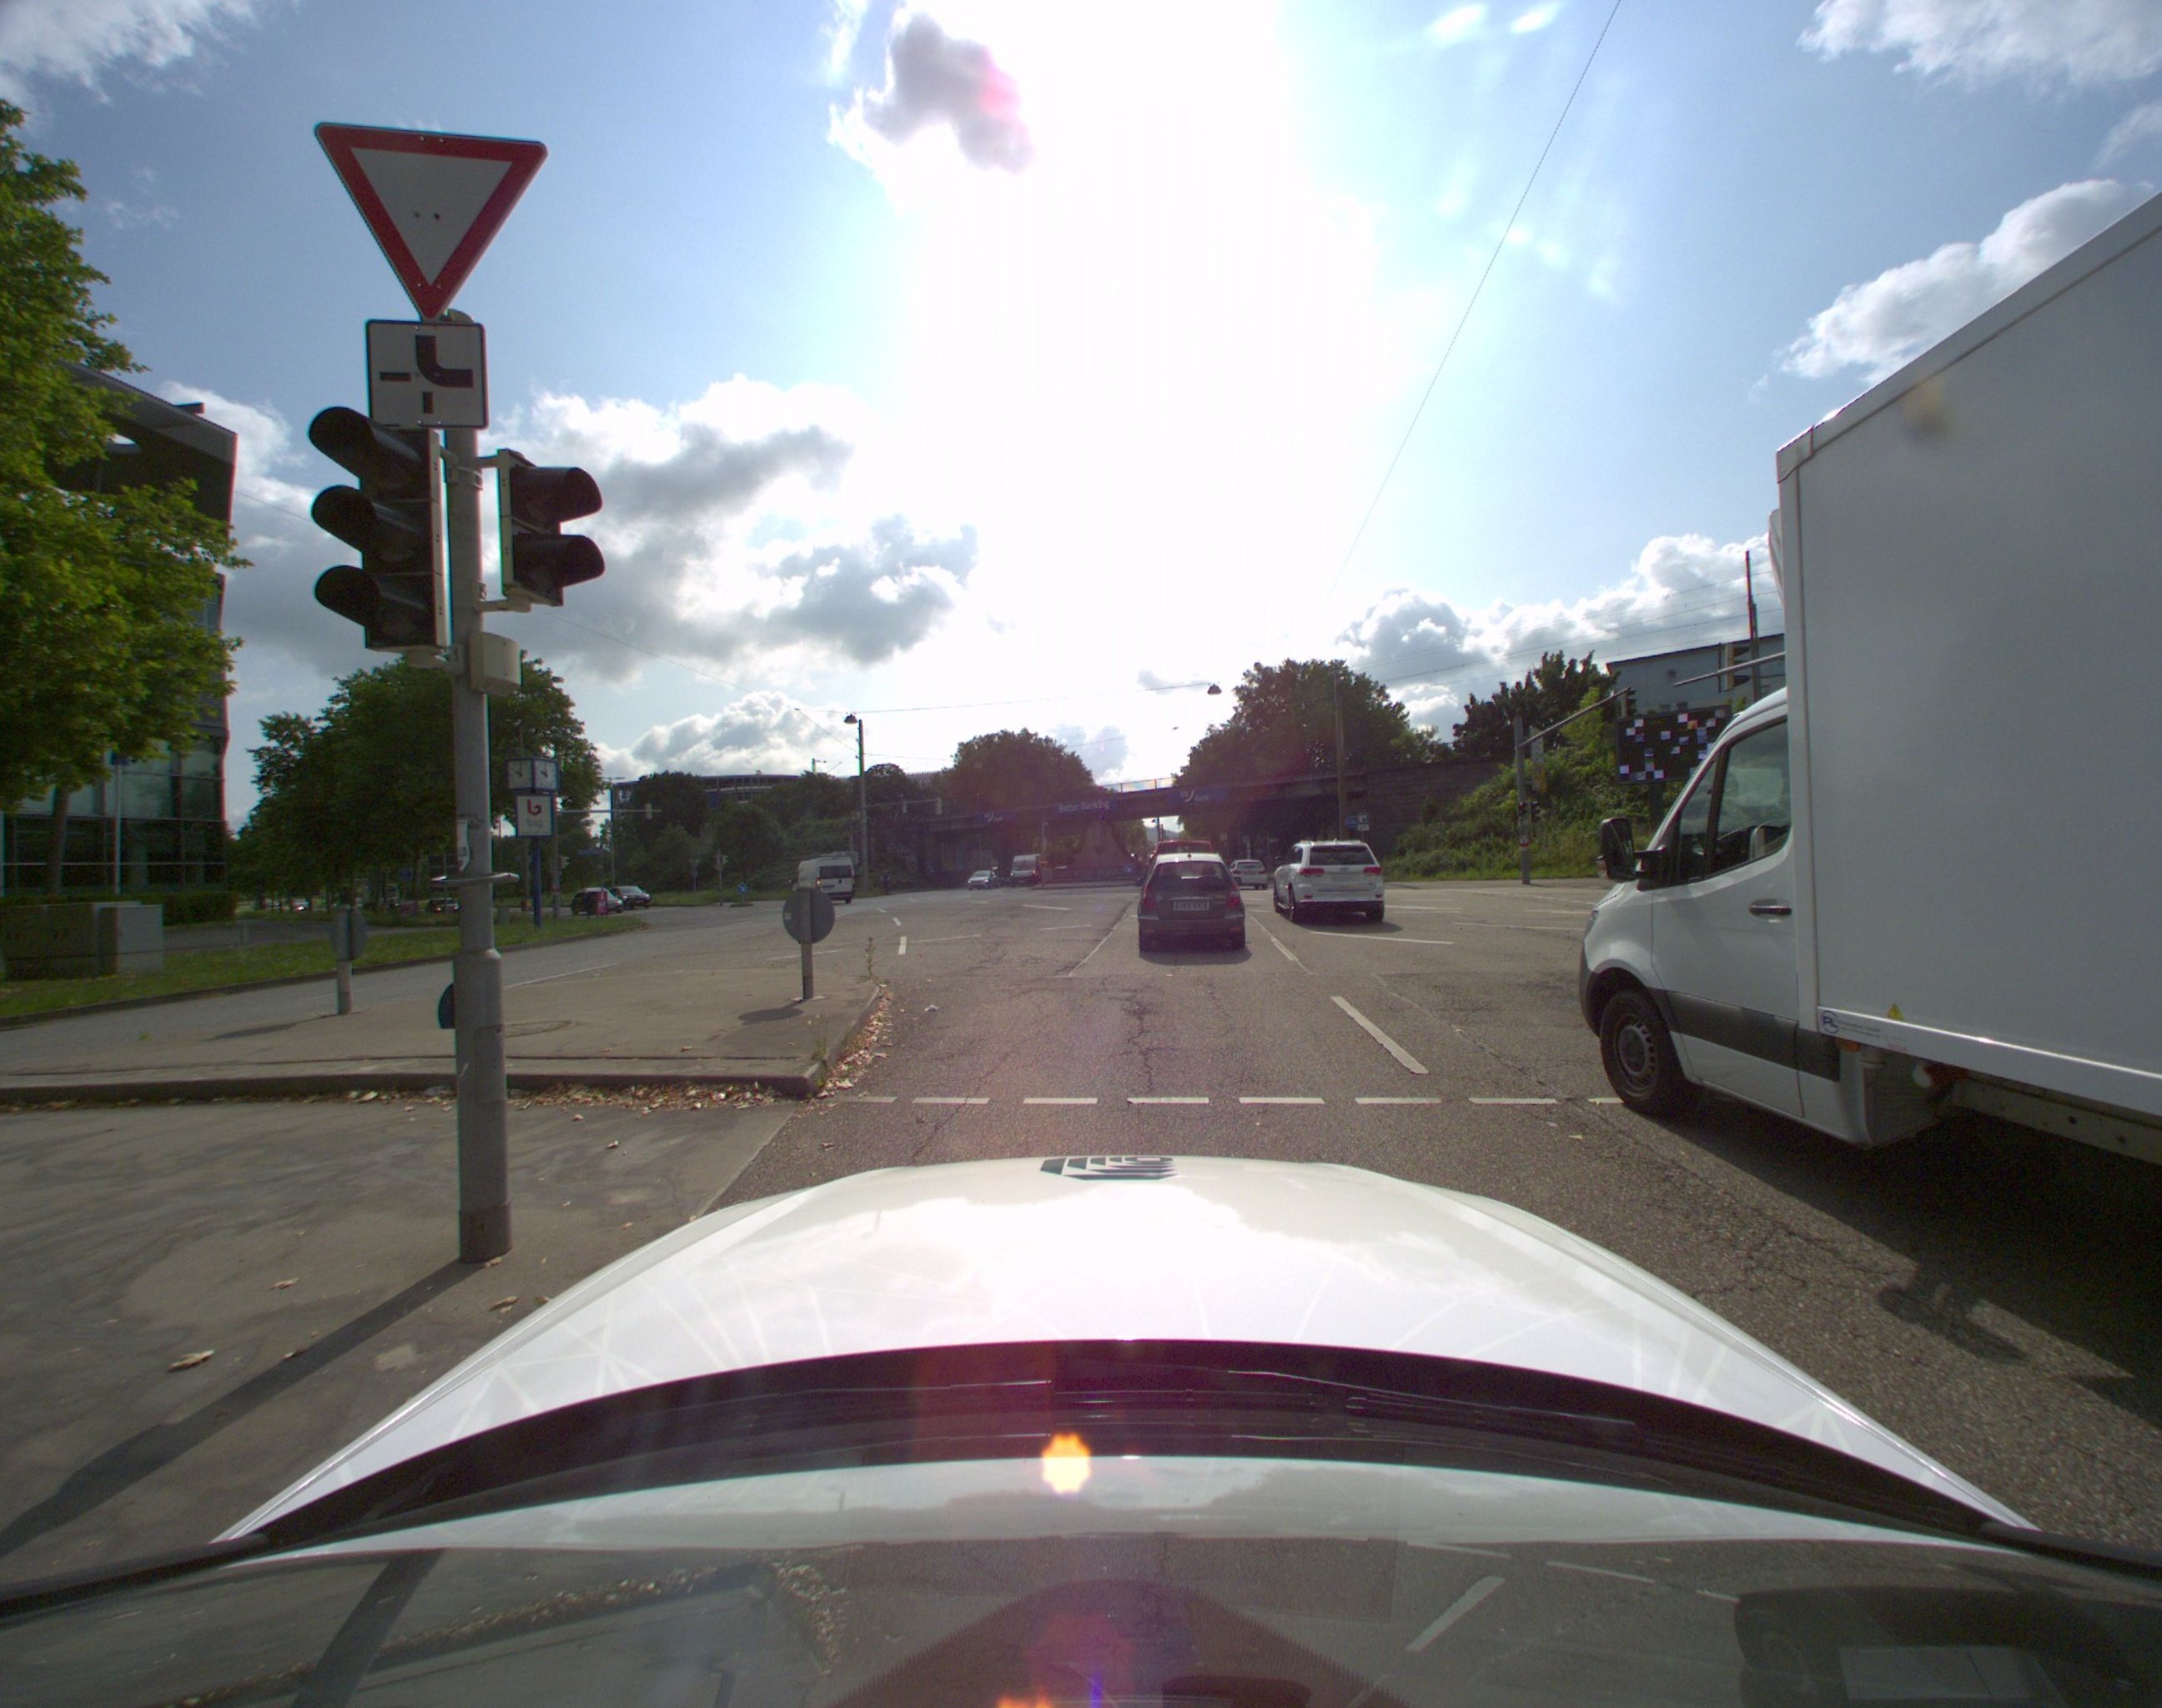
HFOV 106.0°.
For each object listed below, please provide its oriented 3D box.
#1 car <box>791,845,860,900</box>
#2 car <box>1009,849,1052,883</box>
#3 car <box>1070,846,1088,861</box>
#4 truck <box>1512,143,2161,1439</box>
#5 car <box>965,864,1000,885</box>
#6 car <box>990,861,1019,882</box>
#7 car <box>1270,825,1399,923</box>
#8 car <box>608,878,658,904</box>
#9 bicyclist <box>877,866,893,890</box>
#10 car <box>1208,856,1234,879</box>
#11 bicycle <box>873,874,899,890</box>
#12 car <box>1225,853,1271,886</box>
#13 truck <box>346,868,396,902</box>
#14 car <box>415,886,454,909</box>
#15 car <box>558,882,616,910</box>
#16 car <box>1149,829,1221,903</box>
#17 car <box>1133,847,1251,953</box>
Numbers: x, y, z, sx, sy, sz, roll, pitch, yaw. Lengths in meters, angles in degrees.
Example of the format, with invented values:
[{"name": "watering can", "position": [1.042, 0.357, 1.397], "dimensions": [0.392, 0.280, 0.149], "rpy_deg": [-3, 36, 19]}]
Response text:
[{"name": "car", "position": [-13.885, 1.022, 44.047], "dimensions": [2.213, 2.726, 4.878], "rpy_deg": [-2, -1, -34]}, {"name": "car", "position": [-3.971, 0.942, 64.900], "dimensions": [2.245, 2.526, 5.639], "rpy_deg": [-3, -1, 8]}, {"name": "car", "position": [-0.350, -0.140, 151.333], "dimensions": [2.232, 2.578, 5.639], "rpy_deg": [-3, -1, 8]}, {"name": "truck", "position": [3.862, -0.153, 2.319], "dimensions": [2.435, 3.121, 6.036], "rpy_deg": [-2, -1, 5]}, {"name": "car", "position": [-7.562, 1.559, 62.978], "dimensions": [1.694, 1.476, 4.006], "rpy_deg": [-5, -1, 6]}, {"name": "car", "position": [-6.881, 1.554, 73.482], "dimensions": [1.758, 1.583, 4.666], "rpy_deg": [-7, -1, 2]}, {"name": "car", "position": [5.619, 0.376, 18.634], "dimensions": [1.984, 1.901, 4.518], "rpy_deg": [-2, 1, 7]}, {"name": "car", "position": [-30.354, 2.449, 55.156], "dimensions": [4.307, 1.587, 1.723], "rpy_deg": [-1, 0, 43]}, {"name": "bicyclist", "position": [-14.290, 1.748, 59.411], "dimensions": [0.836, 1.678, 0.827], "rpy_deg": [-2, -1, 14]}, {"name": "car", "position": [9.529, 0.943, 55.423], "dimensions": [1.536, 1.522, 3.623], "rpy_deg": [-1, -2, 7]}, {"name": "bicycle", "position": [-14.252, 2.038, 59.492], "dimensions": [0.836, 1.093, 2.327], "rpy_deg": [-2, 0, 14]}, {"name": "car", "position": [8.089, 0.757, 39.710], "dimensions": [1.842, 1.522, 3.623], "rpy_deg": [-1, -2, 7]}, {"name": "truck", "position": [-90.150, 3.832, 103.368], "dimensions": [10.029, 3.887, 2.676], "rpy_deg": [1, 1, 36]}, {"name": "car", "position": [-51.709, 3.463, 65.094], "dimensions": [3.950, 1.572, 1.745], "rpy_deg": [1, -2, 42]}, {"name": "car", "position": [-30.065, 2.522, 49.474], "dimensions": [4.510, 1.574, 1.882], "rpy_deg": [-2, -2, 43]}, {"name": "car", "position": [3.219, 0.295, 25.471], "dimensions": [1.945, 2.016, 4.686], "rpy_deg": [-2, 1, 7]}, {"name": "car", "position": [1.962, 0.711, 14.628], "dimensions": [1.782, 1.608, 3.806], "rpy_deg": [-1, 1, 7]}]
